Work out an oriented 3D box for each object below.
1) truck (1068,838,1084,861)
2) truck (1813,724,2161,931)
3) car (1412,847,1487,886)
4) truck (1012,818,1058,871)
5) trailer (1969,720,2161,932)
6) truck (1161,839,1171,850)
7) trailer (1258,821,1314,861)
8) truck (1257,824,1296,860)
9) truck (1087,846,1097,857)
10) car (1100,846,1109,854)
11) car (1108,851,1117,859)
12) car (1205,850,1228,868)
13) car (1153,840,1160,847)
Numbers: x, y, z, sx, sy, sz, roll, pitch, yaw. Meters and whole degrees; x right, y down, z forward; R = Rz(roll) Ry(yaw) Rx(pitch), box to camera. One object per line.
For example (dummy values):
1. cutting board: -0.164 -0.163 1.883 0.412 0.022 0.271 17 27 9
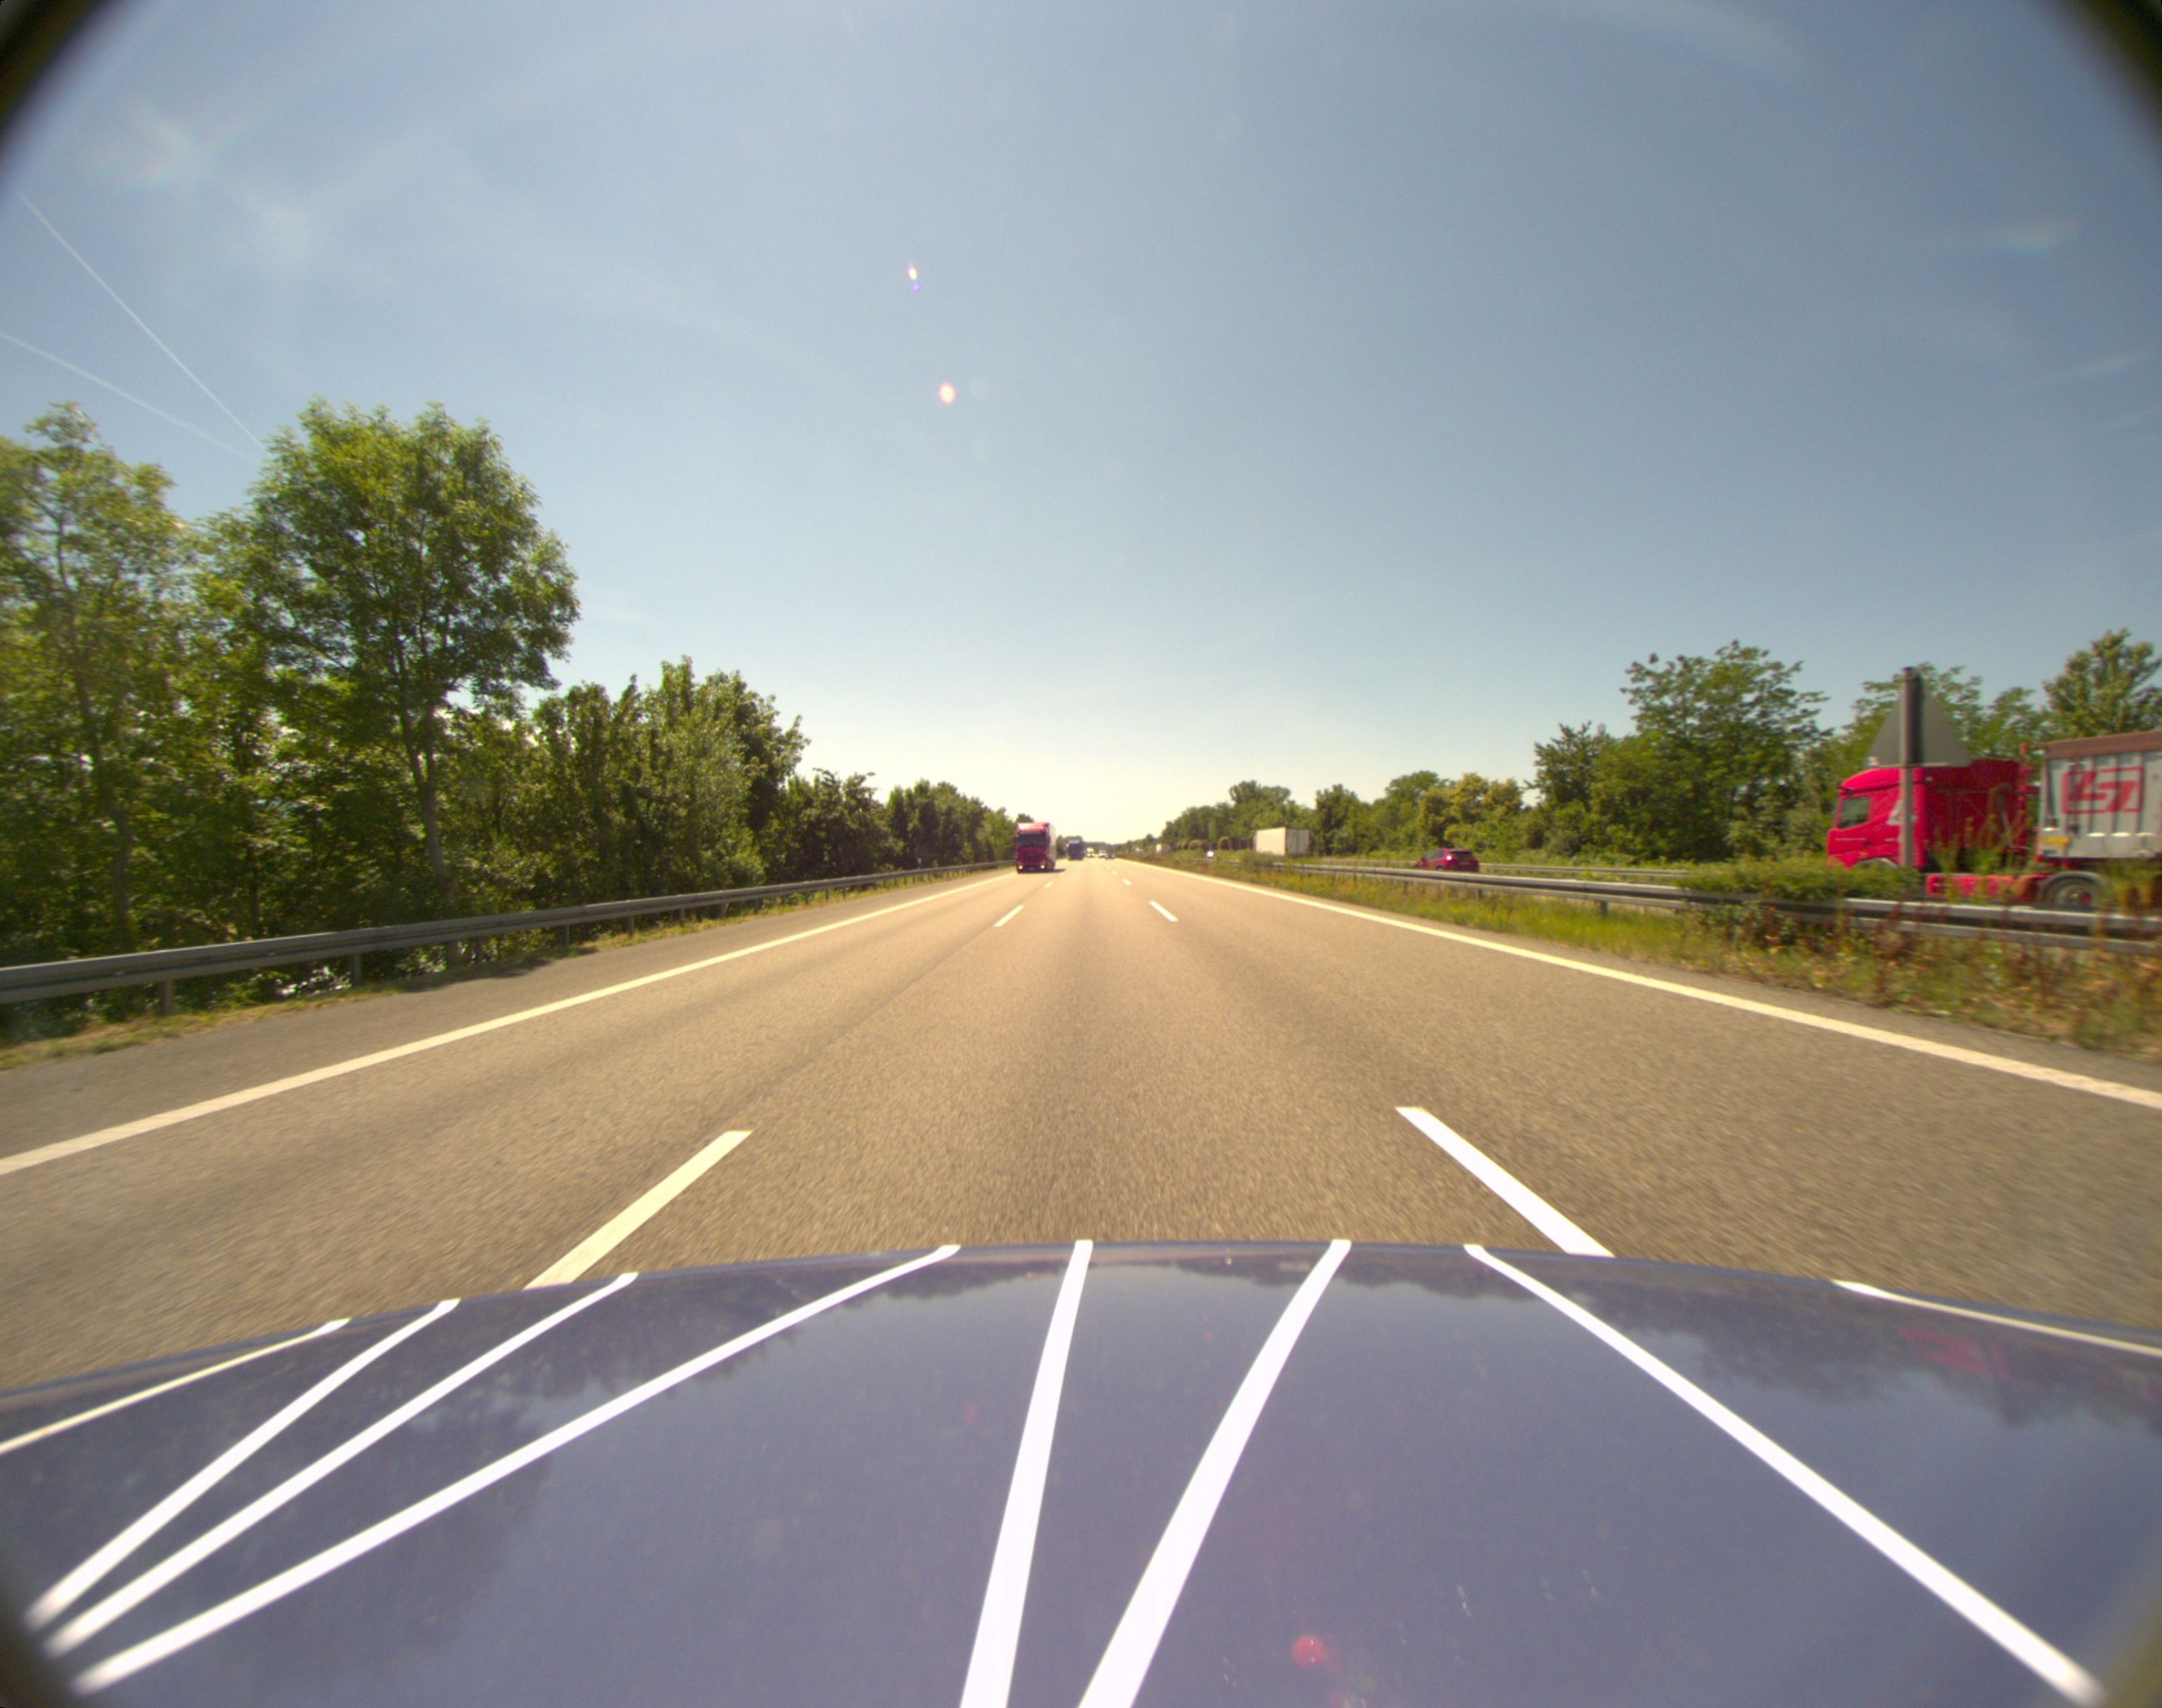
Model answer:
1. truck: -0.975 -1.024 154.798 2.938 4.429 10.259 -2 1 1
2. truck: 21.670 -0.584 17.778 2.967 3.953 6.362 -2 1 1
3. car: 17.720 0.539 36.774 1.819 1.712 4.000 -2 1 3
4. truck: -3.665 -0.804 63.662 2.938 3.934 10.259 -2 1 1
5. trailer: 21.542 -0.548 11.932 2.939 3.952 10.627 -2 1 1
6. truck: 24.370 -2.817 217.849 2.399 2.982 5.184 -2 1 1
7. trailer: 22.469 -1.388 84.064 2.939 3.952 12.320 -2 1 1
8. truck: 22.534 -1.399 87.845 2.933 3.953 5.907 -2 1 1
9. truck: 3.423 -0.806 237.018 2.726 3.391 9.768 -2 1 1
10. car: 5.877 -1.039 192.564 1.998 2.002 4.755 -2 1 1
11. car: 6.306 0.179 152.157 1.736 1.434 4.000 -2 1 1
12. car: 14.667 0.510 82.471 1.879 1.859 4.180 -2 1 2
13. car: 24.627 -3.406 247.177 1.998 2.002 3.999 -2 1 1
